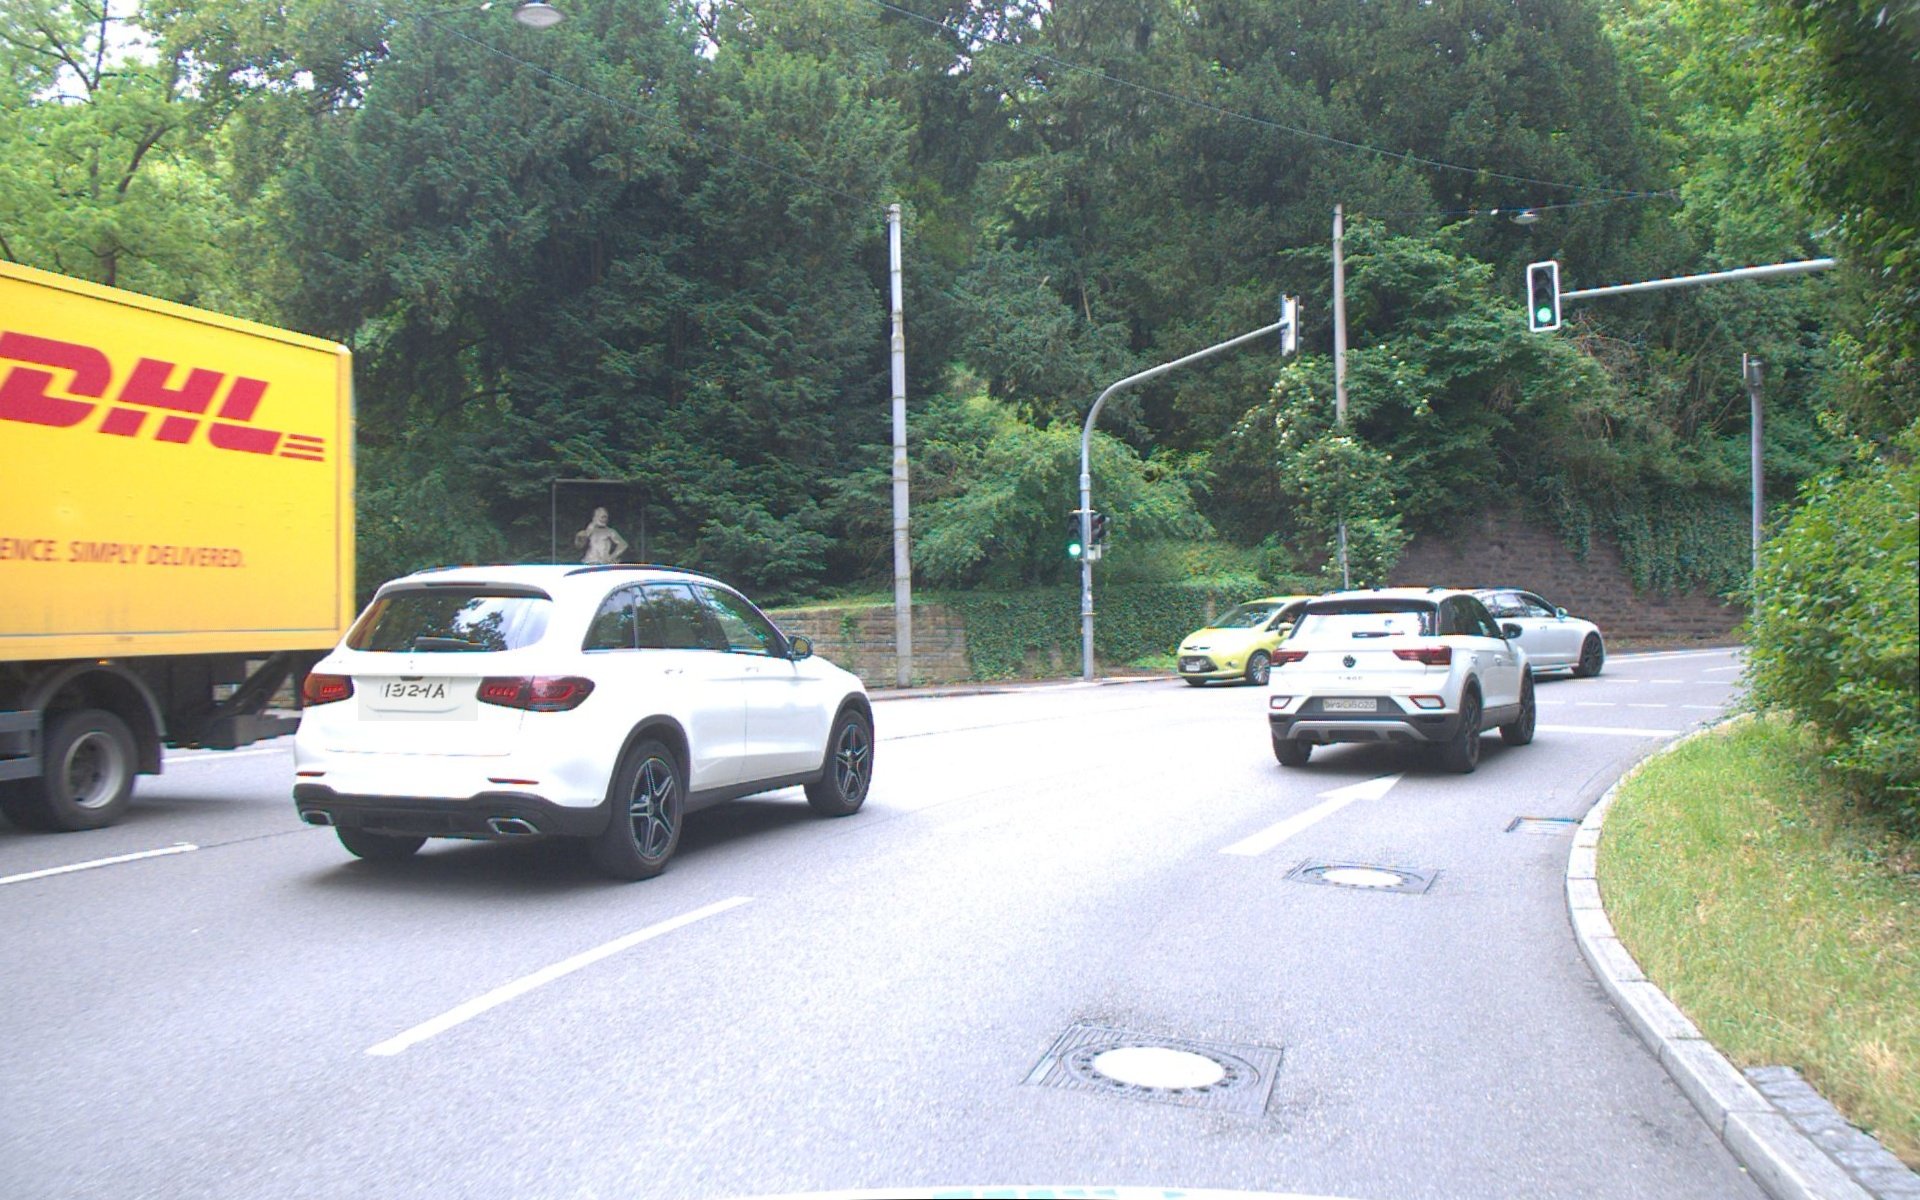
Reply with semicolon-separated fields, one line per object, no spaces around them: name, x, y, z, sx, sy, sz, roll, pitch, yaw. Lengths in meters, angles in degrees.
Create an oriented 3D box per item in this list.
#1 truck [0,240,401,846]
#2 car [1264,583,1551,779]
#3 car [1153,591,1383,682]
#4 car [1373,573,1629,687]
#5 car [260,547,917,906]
truck;-6.645;-0.314;9.433;2.691;3.358;7.587;0;-1;16
car;4.388;0.639;15.747;1.721;1.580;4.331;0;0;28
car;5.378;0.596;28.827;3.843;1.447;1.545;-1;0;-29
car;8.696;0.430;26.360;4.739;1.561;1.841;-2;1;-43
car;-1.912;0.623;10.252;1.820;1.633;4.673;2;0;18
